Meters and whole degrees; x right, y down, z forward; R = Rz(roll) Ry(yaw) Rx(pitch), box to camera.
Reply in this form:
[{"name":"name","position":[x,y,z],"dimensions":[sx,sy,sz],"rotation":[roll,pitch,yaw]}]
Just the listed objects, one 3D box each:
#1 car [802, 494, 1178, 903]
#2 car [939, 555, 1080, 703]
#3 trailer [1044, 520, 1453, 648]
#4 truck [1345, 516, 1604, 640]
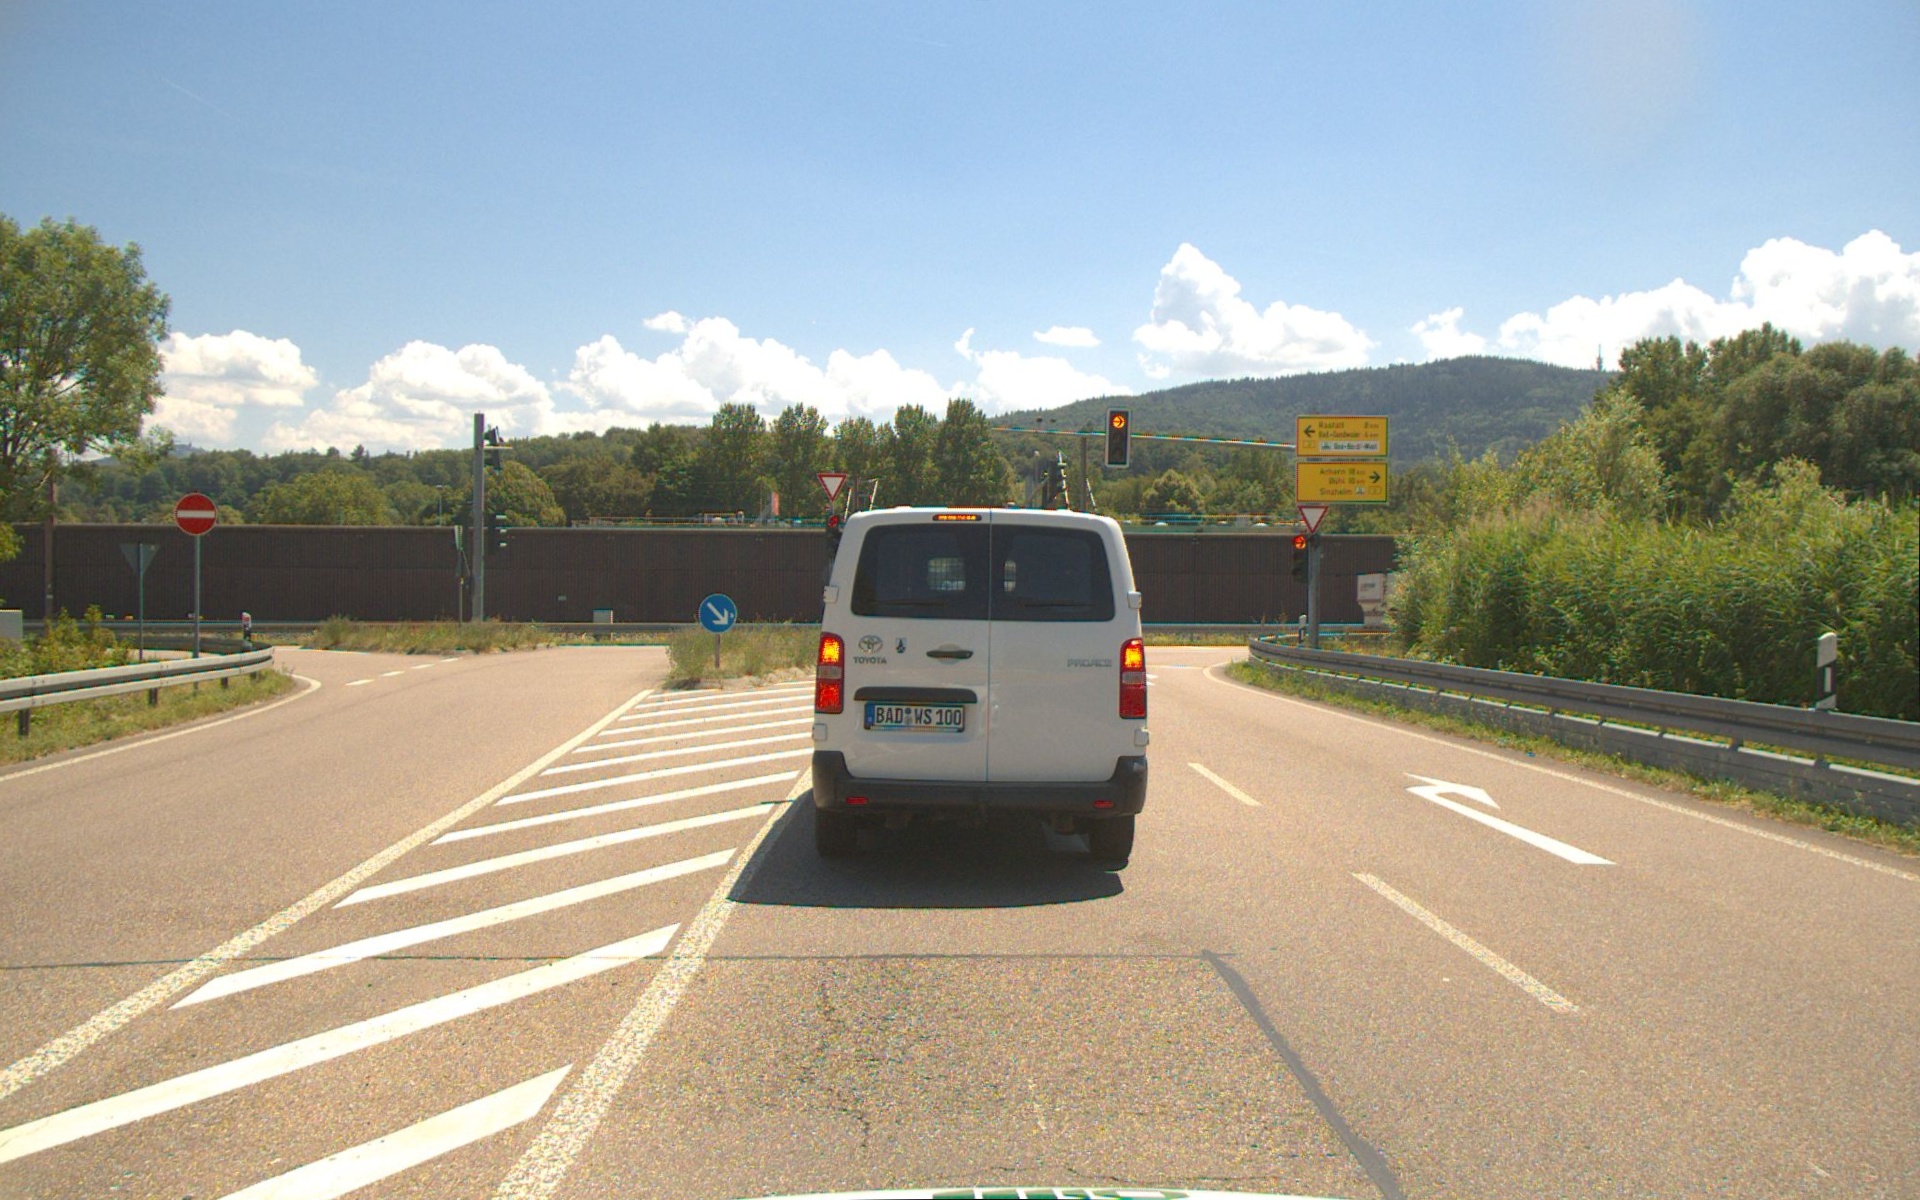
[{"name":"car","position":[0.115,0.491,10.187],"dimensions":[1.832,1.999,3.999],"rotation":[1,0,-1]},{"name":"car","position":[0.676,0.415,25.361],"dimensions":[1.953,2.048,3.999],"rotation":[-1,0,-1]},{"name":"trailer","position":[8.717,-0.519,50.406],"dimensions":[12.076,3.565,2.231],"rotation":[-1,1,-4]},{"name":"truck","position":[15.754,-0.693,50.847],"dimensions":[7.258,3.565,2.231],"rotation":[-1,1,-4]}]
